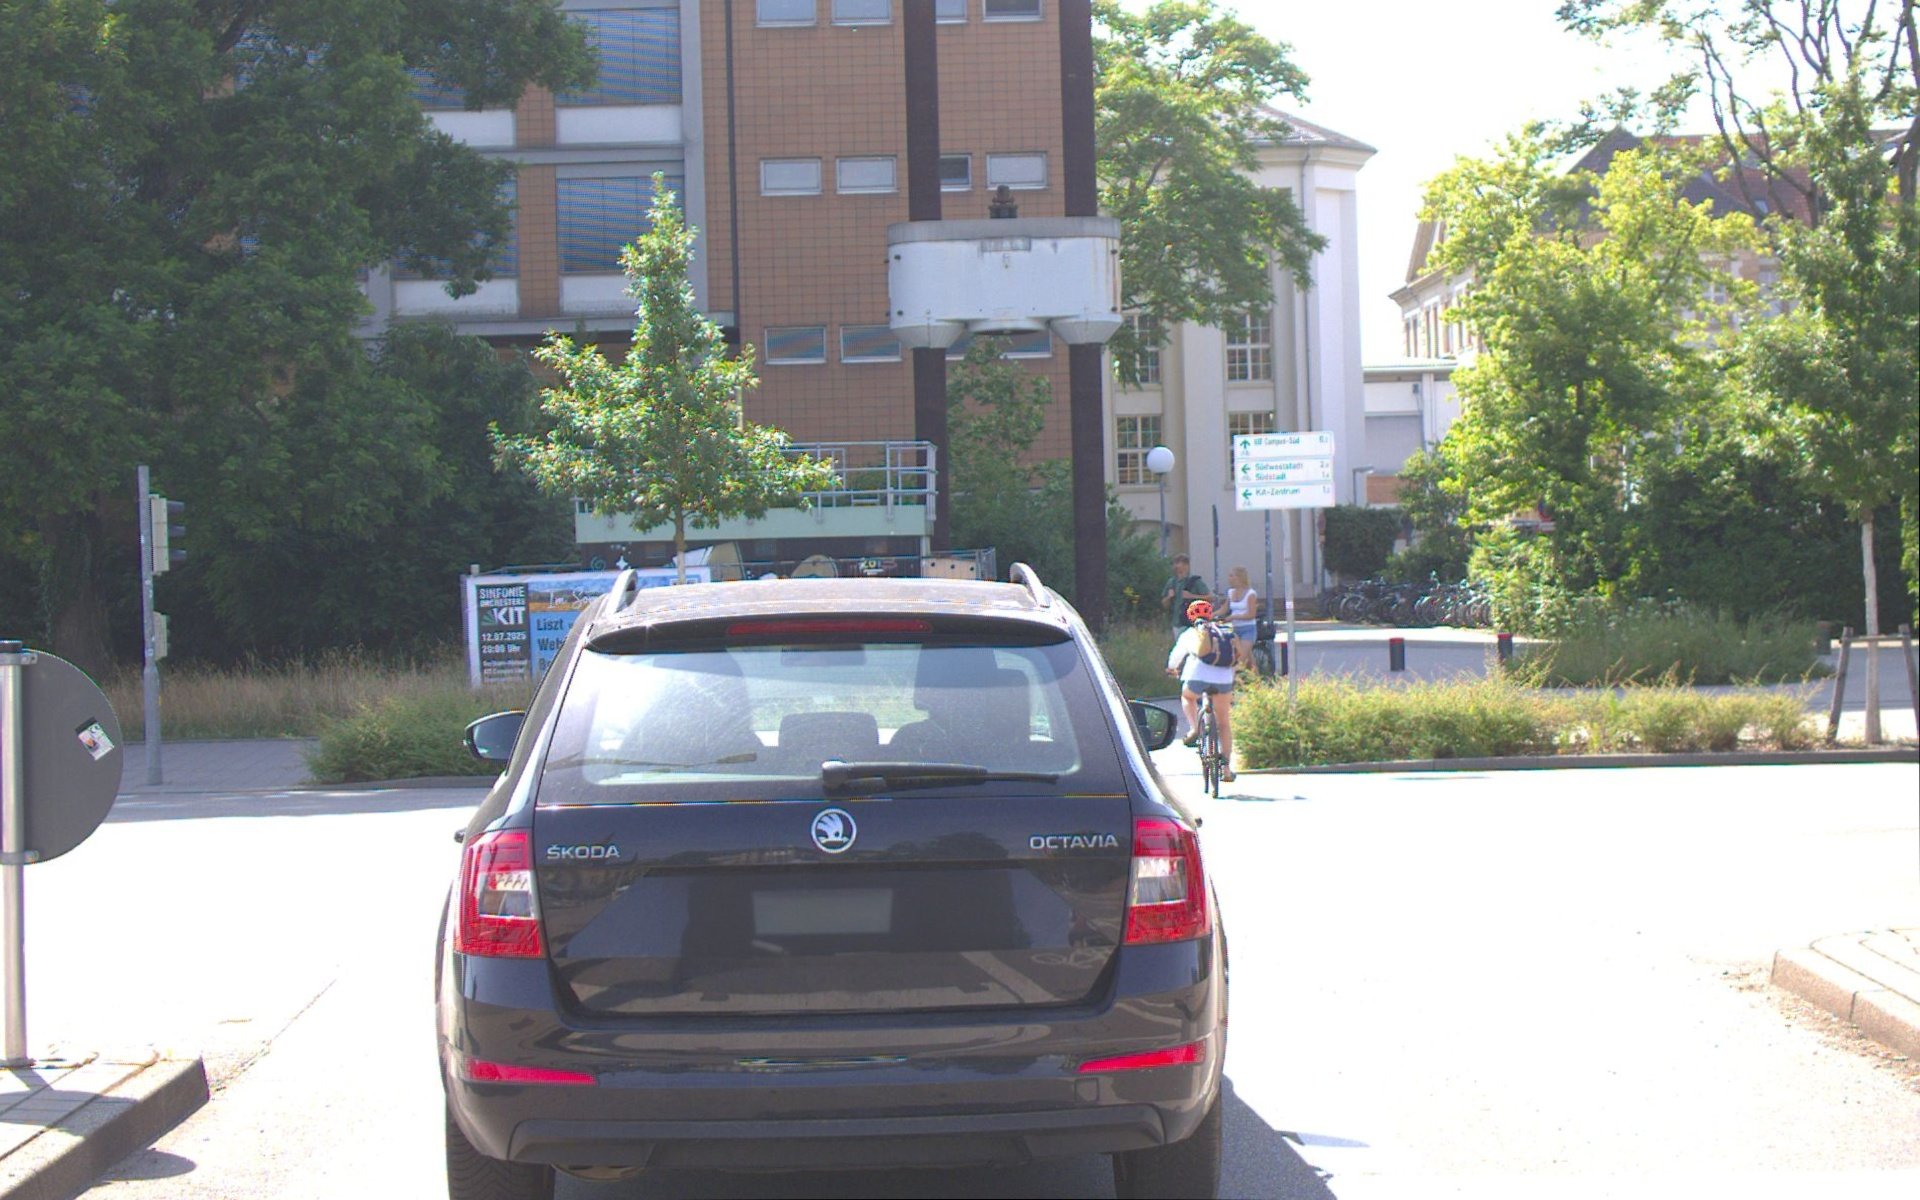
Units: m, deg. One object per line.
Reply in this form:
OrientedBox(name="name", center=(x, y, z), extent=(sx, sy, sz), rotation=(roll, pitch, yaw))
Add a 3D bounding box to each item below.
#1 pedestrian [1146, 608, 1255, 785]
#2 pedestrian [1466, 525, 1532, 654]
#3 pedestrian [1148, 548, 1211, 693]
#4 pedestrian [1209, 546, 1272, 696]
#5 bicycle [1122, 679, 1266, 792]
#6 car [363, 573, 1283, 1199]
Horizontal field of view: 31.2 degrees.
OrientedBox(name="pedestrian", center=(2.034, 0.799, 29.117), extent=(0.583, 1.461, 1.014), rotation=(0, 0, -17))
OrientedBox(name="pedestrian", center=(8.003, -0.157, 51.031), extent=(0.794, 1.868, 0.638), rotation=(-3, 1, 18))
OrientedBox(name="pedestrian", center=(2.870, 0.268, 44.923), extent=(0.597, 1.868, 0.638), rotation=(-2, 0, 23))
OrientedBox(name="pedestrian", center=(3.590, 0.260, 44.022), extent=(0.637, 1.868, 0.796), rotation=(-3, 1, -1))
OrientedBox(name="bicycle", center=(1.974, 1.150, 29.287), extent=(0.596, 0.928, 2.028), rotation=(0, -2, -15))
OrientedBox(name="car", center=(-0.269, 0.658, 8.569), extent=(1.780, 1.438, 3.818), rotation=(0, 1, 0))
